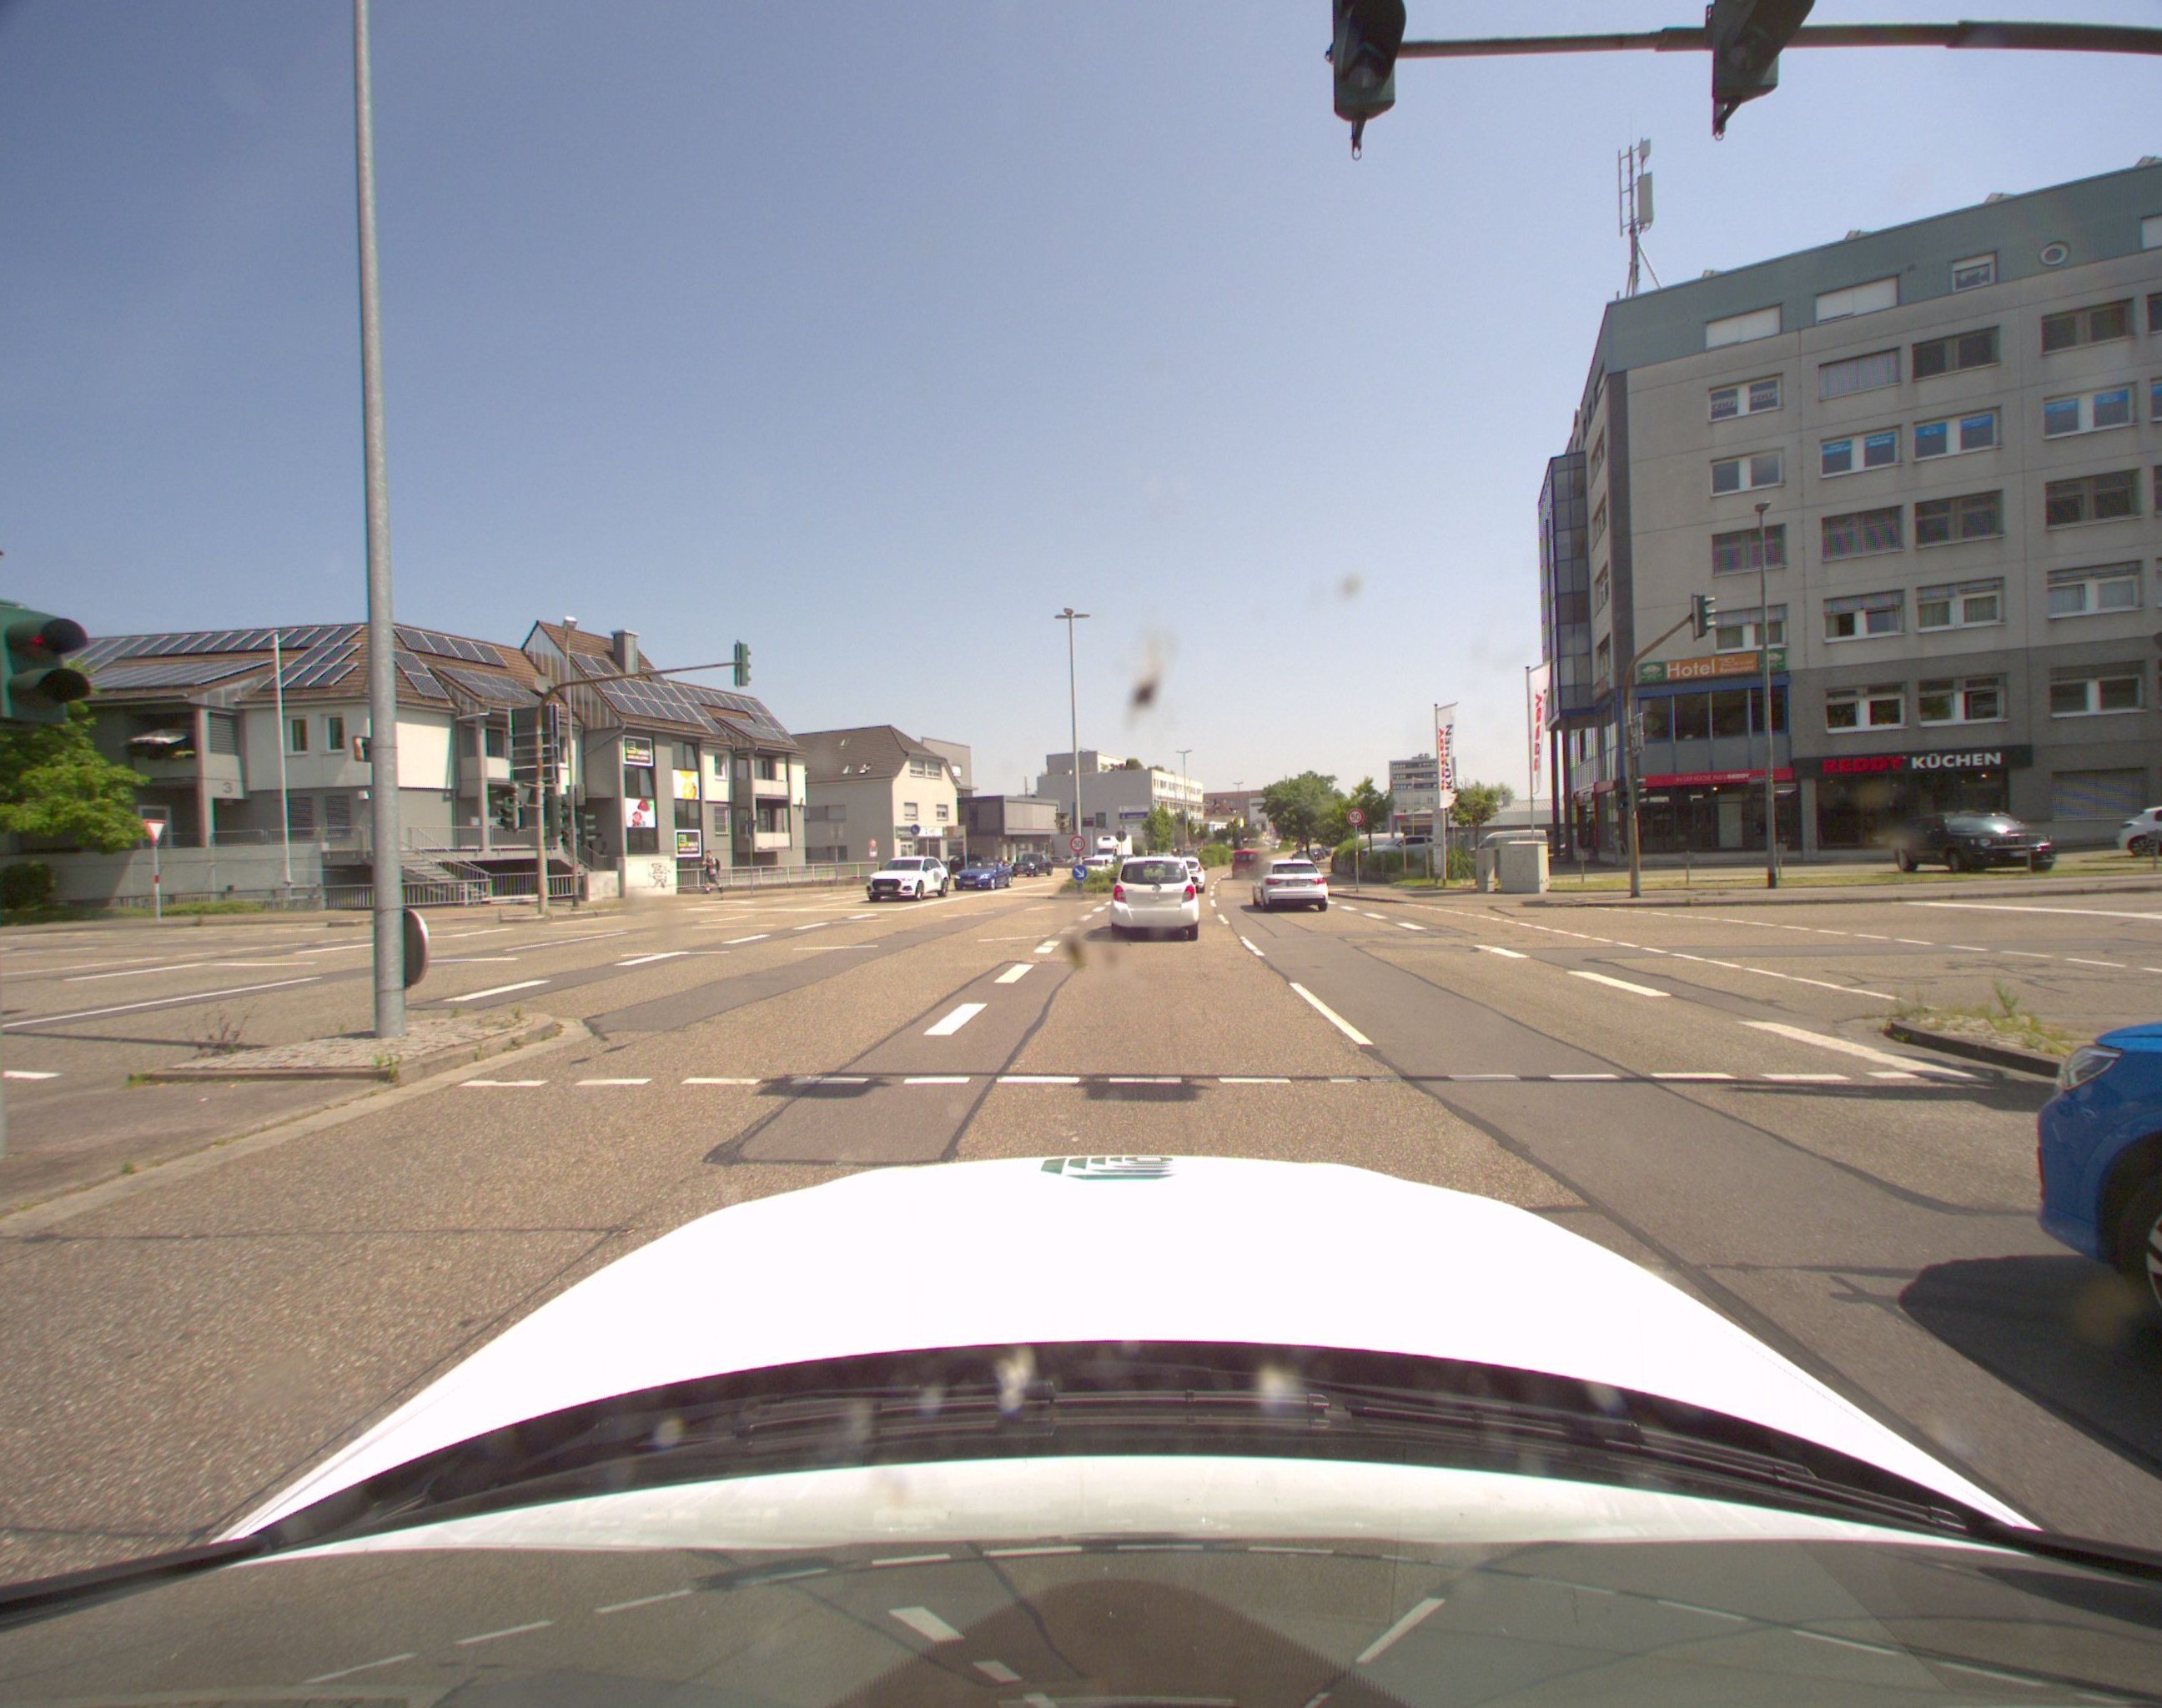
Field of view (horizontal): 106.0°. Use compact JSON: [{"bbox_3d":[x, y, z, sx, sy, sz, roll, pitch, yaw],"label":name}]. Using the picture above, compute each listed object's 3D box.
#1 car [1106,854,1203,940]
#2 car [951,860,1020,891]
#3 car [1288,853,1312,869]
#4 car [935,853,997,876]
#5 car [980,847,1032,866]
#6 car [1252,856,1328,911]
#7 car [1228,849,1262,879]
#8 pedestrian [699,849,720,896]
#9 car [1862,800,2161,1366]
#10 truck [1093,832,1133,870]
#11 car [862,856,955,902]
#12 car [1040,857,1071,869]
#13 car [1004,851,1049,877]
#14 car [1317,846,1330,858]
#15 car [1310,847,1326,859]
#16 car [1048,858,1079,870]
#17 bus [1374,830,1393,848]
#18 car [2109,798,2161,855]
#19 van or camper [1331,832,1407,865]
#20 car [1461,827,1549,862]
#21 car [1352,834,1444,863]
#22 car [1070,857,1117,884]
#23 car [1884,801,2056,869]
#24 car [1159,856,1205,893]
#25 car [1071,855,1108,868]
[{"bbox_3d":[1.408,0.781,16.075,1.705,1.511,3.250,0,-1,4],"label":"car"},{"bbox_3d":[-4.381,0.962,38.005,1.850,1.366,4.361,0,0,12],"label":"car"},{"bbox_3d":[19.429,0.593,72.273,1.783,1.406,4.341,0,0,19],"label":"car"},{"bbox_3d":[-9.253,0.808,65.608,4.568,1.627,1.863,2,1,19],"label":"car"},{"bbox_3d":[-6.589,0.253,71.581,4.025,1.521,2.009,-2,-1,17],"label":"car"},{"bbox_3d":[5.858,0.783,23.169,1.658,1.399,3.801,-1,0,8],"label":"car"},{"bbox_3d":[10.114,0.594,50.498,1.785,1.729,3.981,0,0,7],"label":"car"},{"bbox_3d":[-15.949,0.790,34.992,0.500,2.013,0.744,0,1,4],"label":"pedestrian"},{"bbox_3d":[3.949,0.625,0.957,1.906,1.597,4.397,-1,0,1],"label":"car"},{"bbox_3d":[3.125,-0.209,77.879,2.248,3.418,7.067,0,-1,15],"label":"truck"},{"bbox_3d":[-6.286,0.865,30.230,1.806,1.570,4.568,0,0,10],"label":"car"},{"bbox_3d":[-3.609,1.249,115.022,3.942,1.467,1.972,-2,0,15],"label":"car"},{"bbox_3d":[-3.740,0.650,56.527,1.981,1.656,4.607,-2,0,10],"label":"car"},{"bbox_3d":[34.822,-0.344,116.913,1.699,1.548,4.813,-2,0,18],"label":"car"},{"bbox_3d":[30.886,-0.124,106.115,1.840,1.481,5.180,-2,1,17],"label":"car"},{"bbox_3d":[-2.550,1.390,118.230,3.942,1.467,2.083,-4,0,18],"label":"car"},{"bbox_3d":[58.334,-2.956,156.884,2.779,3.078,12.356,-1,2,24],"label":"bus"},{"bbox_3d":[31.230,-0.912,21.827,1.543,1.533,4.196,0,-5,-19],"label":"car"},{"bbox_3d":[27.891,-0.503,79.063,6.740,2.897,2.287,-2,0,19],"label":"van or camper"},{"bbox_3d":[32.577,-0.682,62.778,5.834,2.528,2.131,0,-1,23],"label":"car"},{"bbox_3d":[18.705,-0.312,48.158,4.717,1.713,1.996,0,-1,-6],"label":"car"},{"bbox_3d":[0.772,0.887,46.617,1.851,1.431,4.759,-1,0,11],"label":"car"},{"bbox_3d":[24.699,-0.481,22.842,1.525,1.675,4.352,-1,0,22],"label":"car"},{"bbox_3d":[4.190,0.813,34.344,1.821,1.450,4.006,0,0,5],"label":"car"},{"bbox_3d":[0.992,0.882,95.012,3.957,1.459,1.582,-2,-1,15],"label":"car"}]
